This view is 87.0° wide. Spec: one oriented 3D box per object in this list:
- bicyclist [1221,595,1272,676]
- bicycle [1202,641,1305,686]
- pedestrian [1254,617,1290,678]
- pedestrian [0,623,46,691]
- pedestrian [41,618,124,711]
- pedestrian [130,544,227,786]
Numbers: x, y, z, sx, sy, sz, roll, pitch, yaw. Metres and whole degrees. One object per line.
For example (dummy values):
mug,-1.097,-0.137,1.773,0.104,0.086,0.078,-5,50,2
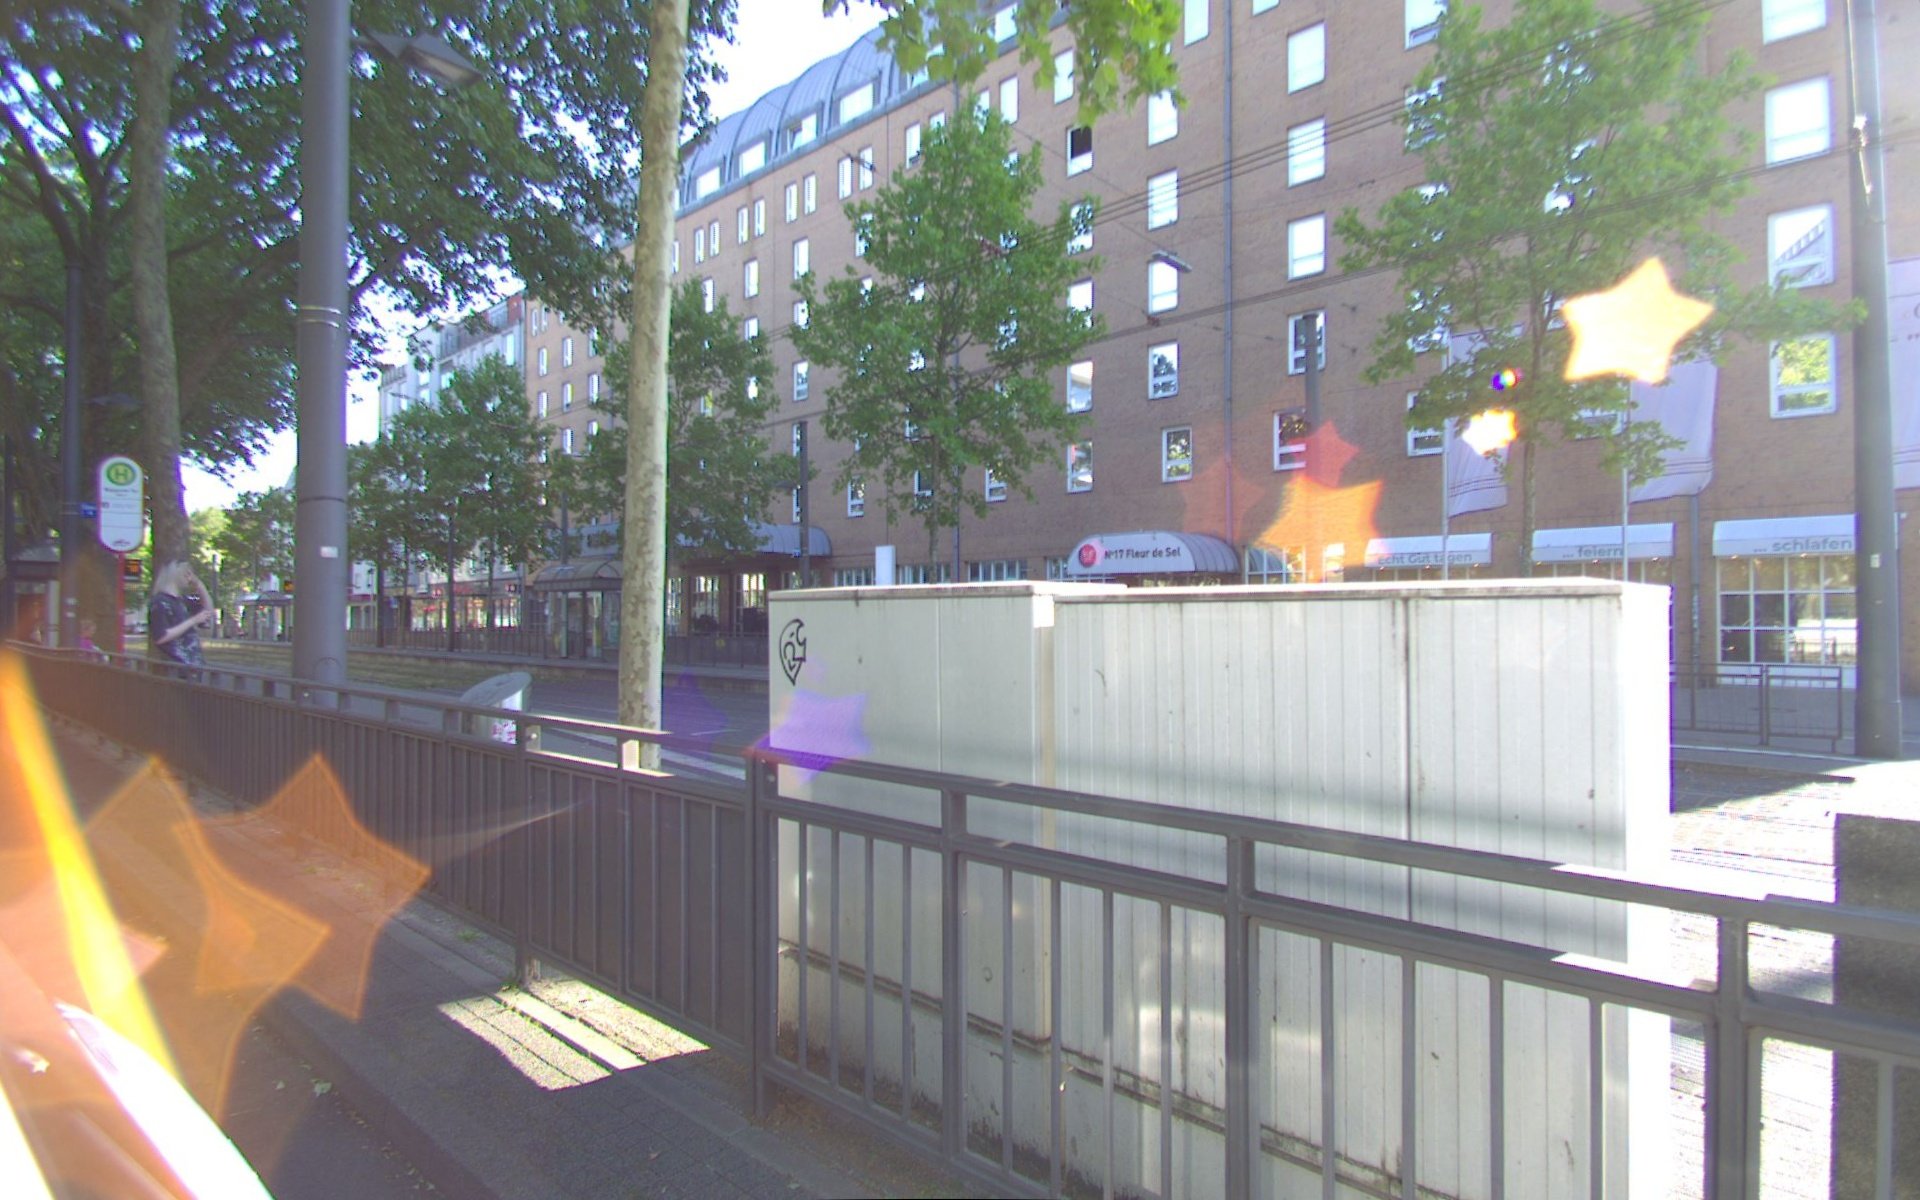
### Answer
bicyclist,6.510,0.805,22.973,0.853,1.799,0.741,-2,-3,45
bicycle,6.603,1.413,22.871,2.185,0.940,0.658,-2,-2,44
pedestrian,8.294,1.251,26.908,0.725,1.596,0.583,-1,0,40
pedestrian,-20.141,1.205,21.742,0.725,1.398,0.641,-1,0,-44
pedestrian,-14.100,1.008,16.263,0.965,1.410,0.665,-1,0,-44
pedestrian,-6.538,0.517,8.465,0.760,1.914,0.504,-1,0,42
